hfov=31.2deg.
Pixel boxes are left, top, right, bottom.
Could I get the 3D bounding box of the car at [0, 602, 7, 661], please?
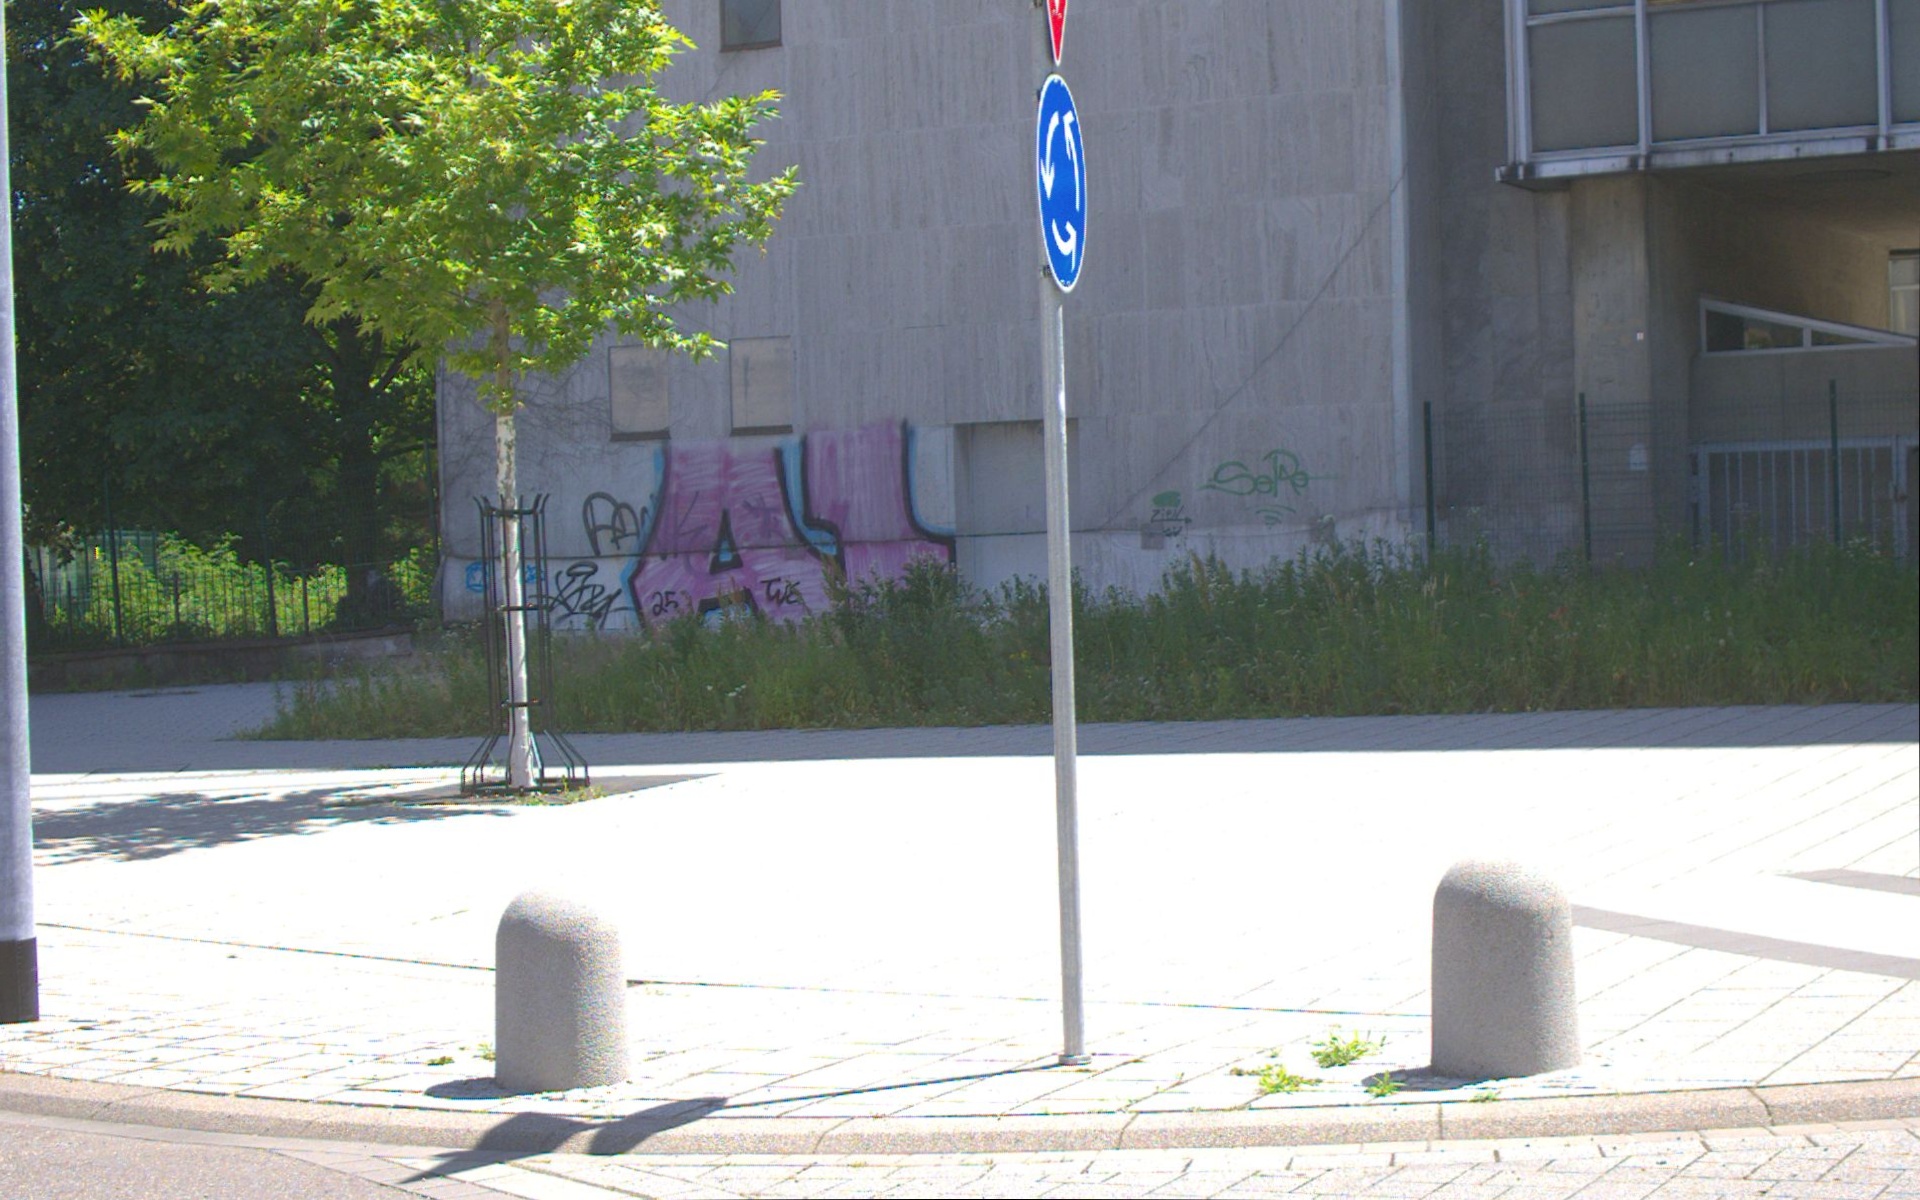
[{"bbox_3d":[-24.518,0.853,83.924,1.738,1.431,3.711,-3,1,-6],"label":"car"}]
